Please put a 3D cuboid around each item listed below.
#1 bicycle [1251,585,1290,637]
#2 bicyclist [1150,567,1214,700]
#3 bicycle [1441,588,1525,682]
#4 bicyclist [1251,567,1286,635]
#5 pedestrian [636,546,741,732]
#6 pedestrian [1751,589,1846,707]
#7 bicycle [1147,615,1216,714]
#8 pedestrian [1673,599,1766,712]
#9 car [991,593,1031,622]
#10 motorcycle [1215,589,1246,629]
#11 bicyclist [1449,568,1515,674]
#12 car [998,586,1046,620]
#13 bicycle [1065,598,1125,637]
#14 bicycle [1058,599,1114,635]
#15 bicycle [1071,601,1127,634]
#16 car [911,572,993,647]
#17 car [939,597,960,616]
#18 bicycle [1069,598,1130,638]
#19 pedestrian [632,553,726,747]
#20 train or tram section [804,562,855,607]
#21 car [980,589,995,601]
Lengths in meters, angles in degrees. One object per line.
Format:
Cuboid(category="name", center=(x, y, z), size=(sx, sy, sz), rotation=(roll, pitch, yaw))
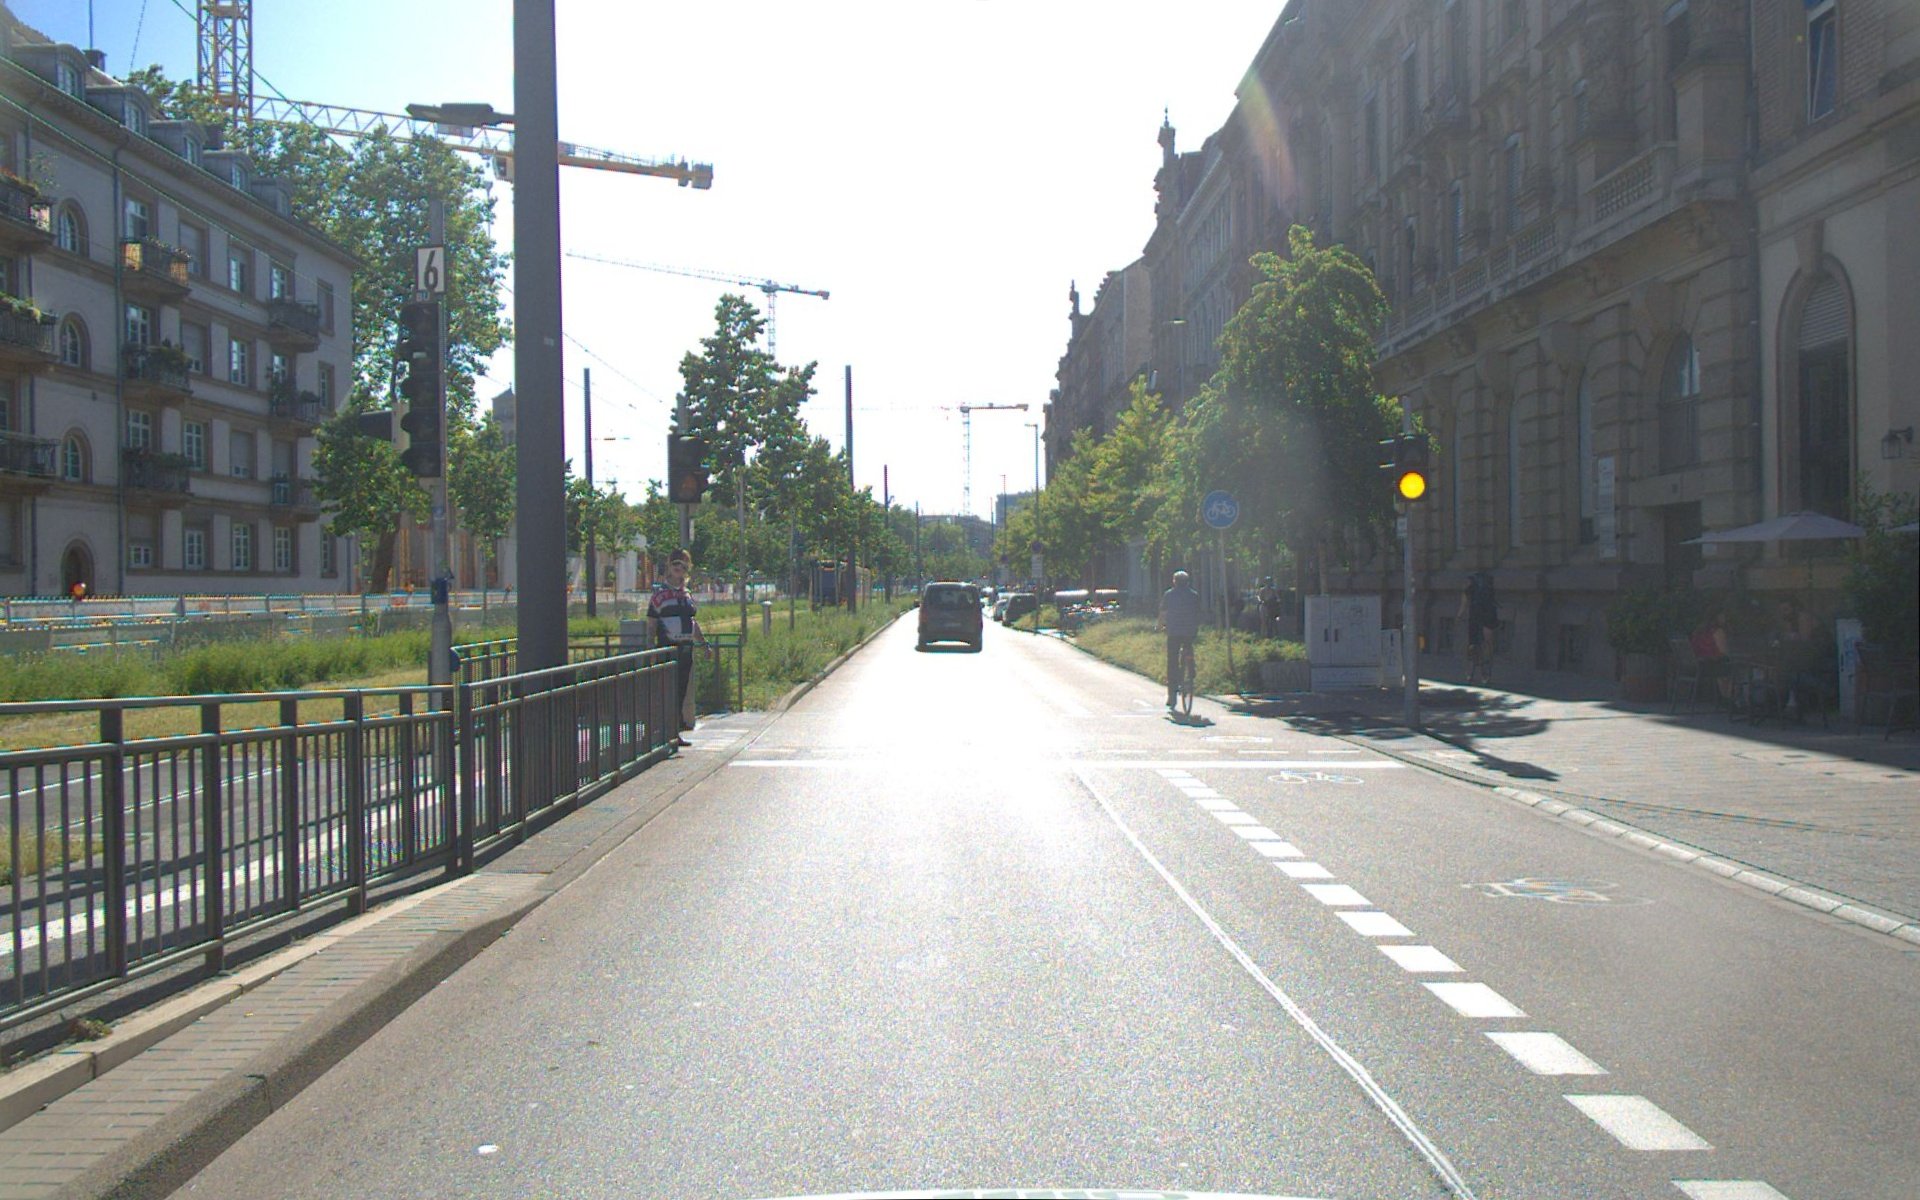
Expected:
Cuboid(category="bicycle", center=(7.680, 0.261, 40.980), size=(0.571, 1.244, 1.899), rotation=(-1, 0, -1))
Cuboid(category="bicyclist", center=(2.910, 0.429, 21.738), size=(0.670, 1.702, 0.922), rotation=(1, 0, -2))
Cuboid(category="bicycle", center=(8.073, 0.516, 25.593), size=(0.603, 1.353, 1.900), rotation=(-5, 0, 0))
Cuboid(category="bicyclist", center=(7.636, 0.022, 40.960), size=(0.653, 1.668, 0.960), rotation=(-1, 0, -1))
Cuboid(category="pedestrian", center=(-2.910, 0.404, 17.786), size=(1.055, 1.942, 0.652), rotation=(-1, 0, -8))
Cuboid(category="pedestrian", center=(9.367, 0.526, 18.491), size=(0.691, 1.258, 0.635), rotation=(-2, 0, -1))
Cuboid(category="bicycle", center=(2.877, 0.819, 21.637), size=(0.589, 1.201, 1.868), rotation=(1, 0, -2))
Cuboid(category="pedestrian", center=(8.468, 0.607, 18.462), size=(0.691, 1.198, 0.635), rotation=(-3, 0, -1))
Cuboid(category="car", center=(2.787, 0.397, 91.092), size=(1.987, 1.525, 4.529), rotation=(-1, 0, -1))
Cuboid(category="motorcycle", center=(9.070, 0.281, 55.512), size=(0.686, 1.289, 1.981), rotation=(-1, 0, -1))
Cuboid(category="bicyclist", center=(8.051, 0.315, 25.535), size=(0.647, 1.556, 0.801), rotation=(-5, 0, 0))
Cuboid(category="car", center=(2.926, 0.149, 78.665), size=(1.987, 1.525, 4.653), rotation=(-1, 0, -1))
Cuboid(category="bicycle", center=(4.263, 0.556, 52.318), size=(1.757, 1.048, 0.527), rotation=(-5, 0, -2))
Cuboid(category="bicycle", center=(4.218, 0.573, 55.308), size=(1.757, 1.048, 0.527), rotation=(-5, 0, -2))
Cuboid(category="bicycle", center=(4.524, 0.562, 53.922), size=(1.756, 1.048, 0.527), rotation=(-1, 0, -2))
Cuboid(category="car", center=(-0.263, 0.240, 46.743), size=(2.155, 1.960, 4.653), rotation=(-1, 0, -1))
Cuboid(category="car", center=(-1.013, 0.656, 160.021), size=(1.953, 1.759, 3.999), rotation=(1, 0, -1))
Cuboid(category="bicycle", center=(4.294, 0.549, 50.945), size=(1.757, 1.048, 0.527), rotation=(-5, 0, -2))
Cuboid(category="pedestrian", center=(-2.708, 0.466, 16.017), size=(0.848, 1.819, 0.969), rotation=(0, 0, -7))
Cuboid(category="train or tram section", center=(-8.571, -0.964, 109.732), size=(2.700, 2.791, 9.862), rotation=(1, 0, -1))
Cuboid(category="car", center=(3.766, -0.699, 227.008), size=(1.987, 1.525, 4.330), rotation=(-1, 0, -1))
